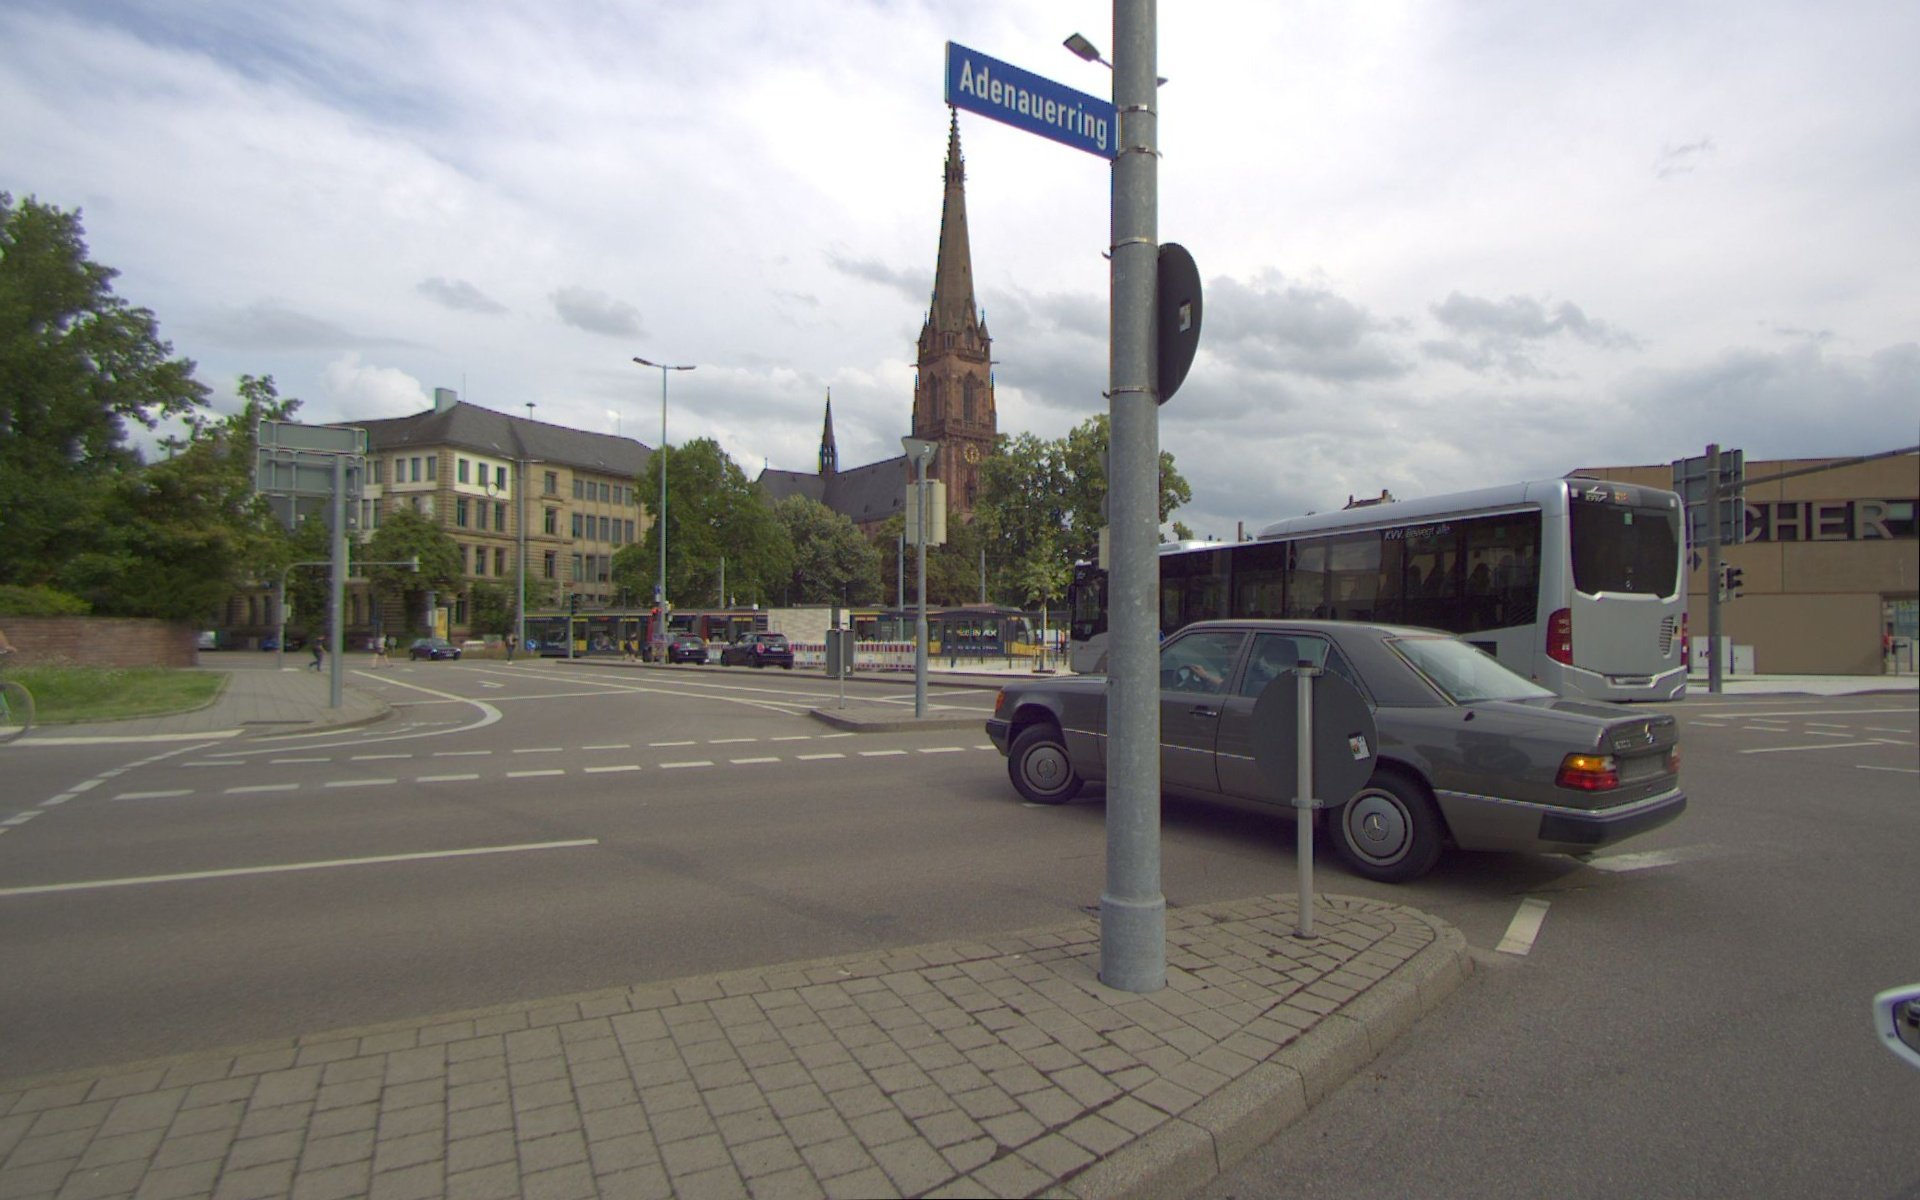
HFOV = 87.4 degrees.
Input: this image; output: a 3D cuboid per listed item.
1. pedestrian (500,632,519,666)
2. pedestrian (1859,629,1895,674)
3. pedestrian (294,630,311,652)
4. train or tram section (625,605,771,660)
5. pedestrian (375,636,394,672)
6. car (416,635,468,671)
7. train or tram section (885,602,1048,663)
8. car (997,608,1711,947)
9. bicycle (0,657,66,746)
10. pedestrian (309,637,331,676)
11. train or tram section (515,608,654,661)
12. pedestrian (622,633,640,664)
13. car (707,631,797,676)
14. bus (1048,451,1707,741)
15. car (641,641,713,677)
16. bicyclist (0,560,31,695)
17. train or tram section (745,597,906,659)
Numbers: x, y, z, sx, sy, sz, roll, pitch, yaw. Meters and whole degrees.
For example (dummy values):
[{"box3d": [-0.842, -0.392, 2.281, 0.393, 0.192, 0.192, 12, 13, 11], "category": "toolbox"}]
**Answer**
[{"box3d": [-23.770, 2.587, 52.967, 0.791, 1.734, 0.833, 1, 0, -31], "category": "pedestrian"}, {"box3d": [36.440, 2.053, 39.924, 0.797, 1.755, 0.780, -1, -3, 26], "category": "pedestrian"}, {"box3d": [-60.968, 3.762, 93.107, 0.991, 2.040, 0.888, -1, -2, 28], "category": "pedestrian"}, {"box3d": [-17.450, 2.096, 66.962, 9.243, 3.255, 3.063, 1, 0, 19], "category": "train or tram section"}, {"box3d": [-28.718, 2.701, 50.097, 0.791, 1.734, 0.833, 1, 0, -31], "category": "pedestrian"}, {"box3d": [-33.250, 3.363, 64.411, 1.985, 2.040, 3.950, 2, 0, -42], "category": "car"}, {"box3d": [0.379, 1.904, 60.685, 9.314, 3.290, 3.063, 1, 0, 19], "category": "train or tram section"}, {"box3d": [2.274, 0.857, 6.940, 1.685, 1.500, 4.370, 2, 0, -36], "category": "car"}, {"box3d": [-11.515, 1.145, 11.725, 1.931, 0.948, 0.506, 2, -2, 11], "category": "bicycle"}, {"box3d": [-29.701, 2.619, 46.642, 0.791, 1.734, 0.833, 1, 0, -31], "category": "pedestrian"}, {"box3d": [-26.173, 2.360, 70.053, 9.184, 3.321, 3.063, 1, 0, 19], "category": "train or tram section"}, {"box3d": [-18.635, 2.750, 56.859, 0.791, 1.734, 0.833, 1, 0, -31], "category": "pedestrian"}, {"box3d": [-8.122, 2.034, 39.075, 1.981, 1.506, 3.960, 2, 0, -36], "category": "car"}, {"box3d": [5.943, 0.304, 19.171, 2.673, 3.483, 14.120, 1, -3, -21], "category": "bus"}, {"box3d": [-13.053, 2.657, 46.175, 1.980, 1.379, 4.233, 2, 0, -34], "category": "car"}, {"box3d": [-11.572, 0.307, 11.778, 0.782, 1.575, 0.580, 2, -2, 11], "category": "bicyclist"}, {"box3d": [-8.547, 1.722, 63.854, 9.734, 3.496, 3.063, 1, 0, 19], "category": "train or tram section"}]
